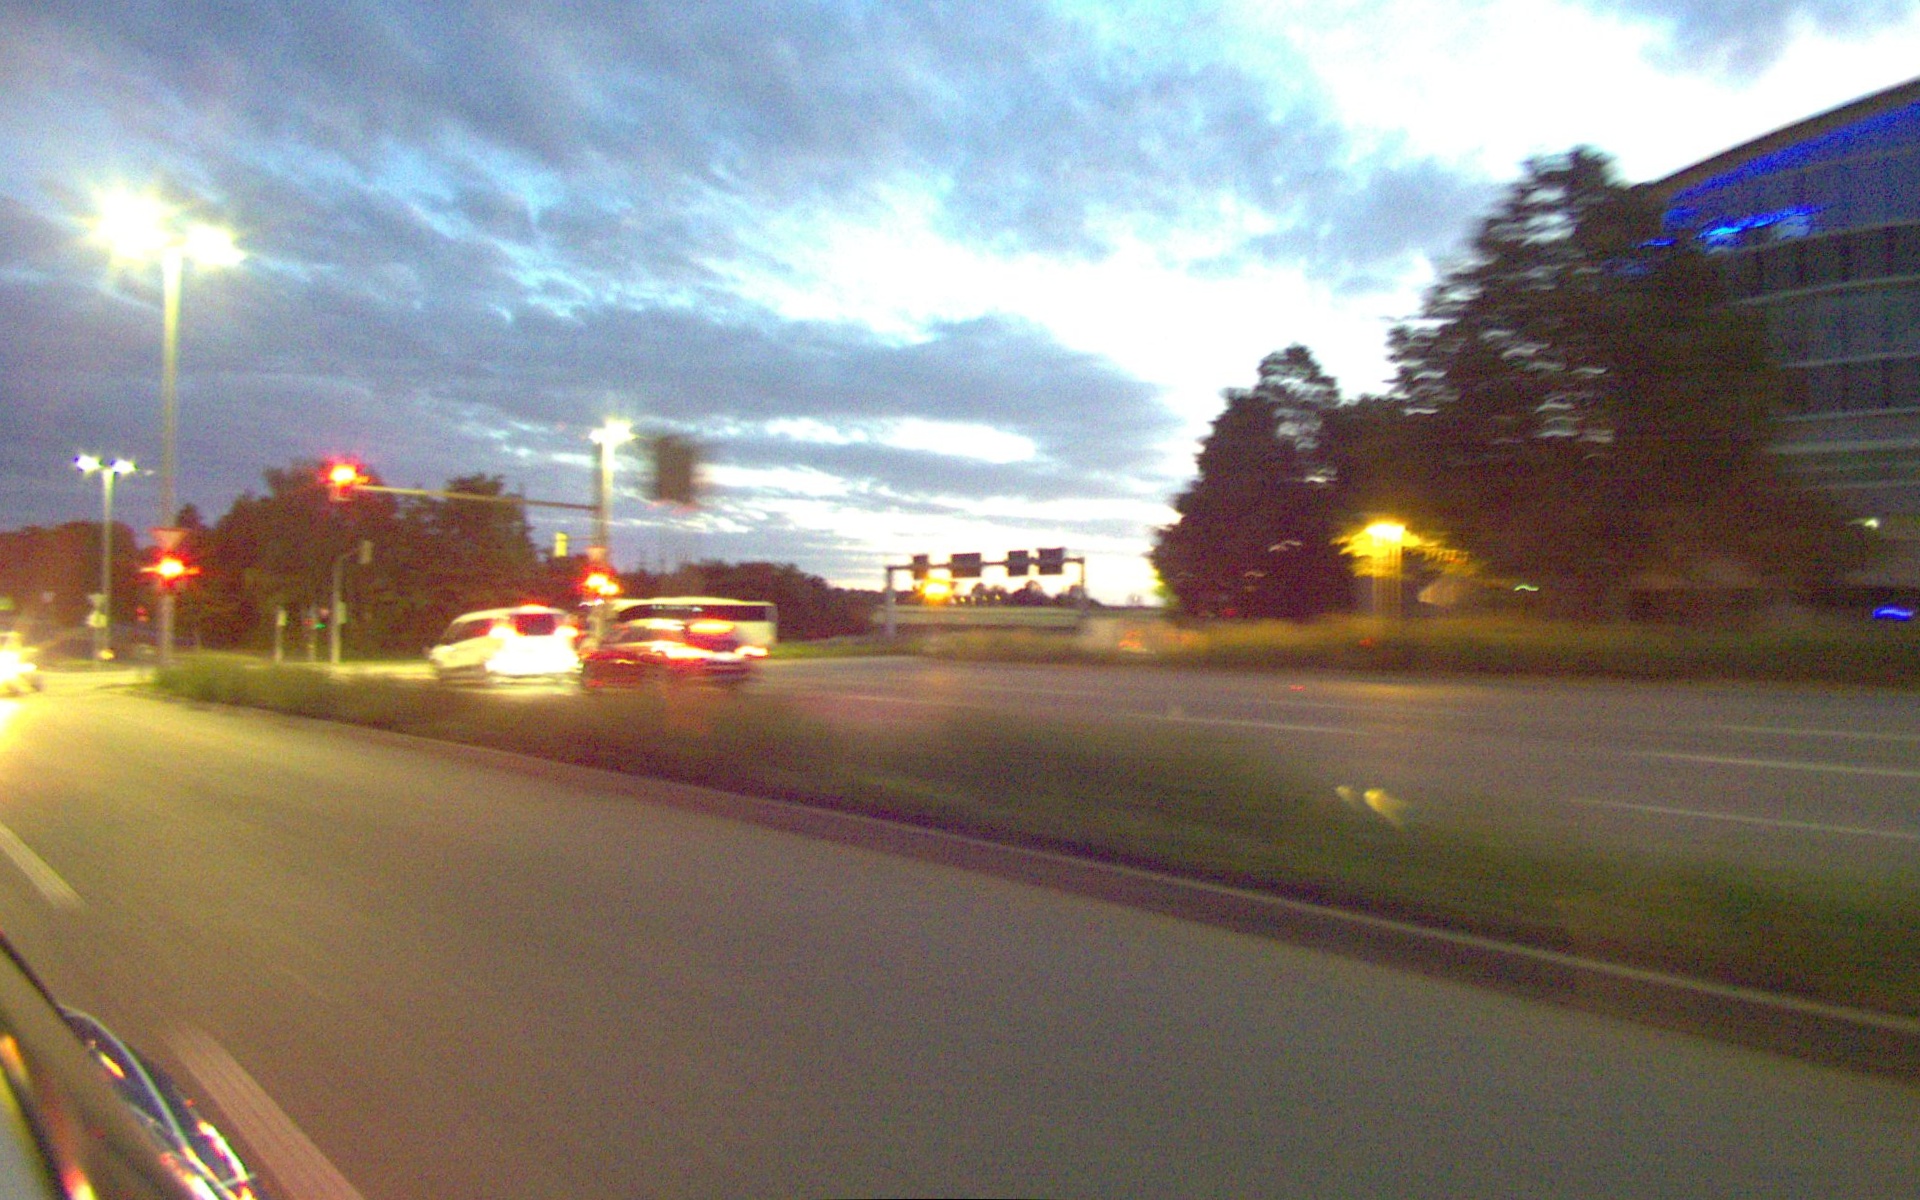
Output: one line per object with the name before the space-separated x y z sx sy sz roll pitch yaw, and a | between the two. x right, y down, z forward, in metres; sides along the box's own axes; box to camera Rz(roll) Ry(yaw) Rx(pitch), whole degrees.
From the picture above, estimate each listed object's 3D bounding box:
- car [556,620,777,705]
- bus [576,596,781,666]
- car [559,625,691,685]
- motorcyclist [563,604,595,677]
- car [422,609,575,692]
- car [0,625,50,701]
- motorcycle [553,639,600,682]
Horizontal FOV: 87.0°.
car | -5.681 1.128 19.199 4.838 1.408 1.850 -3 -2 43
bus | -16.399 1.792 60.230 2.616 3.819 12.100 -4 -3 43
car | -8.800 1.410 26.448 3.782 1.458 1.749 -3 -3 44
motorcyclist | -10.765 1.147 28.564 0.626 2.029 0.769 1 -3 -41
car | -11.299 1.224 24.614 4.776 1.828 1.822 -3 -3 44
car | -23.020 1.485 23.785 1.643 1.666 4.423 0 -2 -32
motorcycle | -10.868 1.700 28.672 0.662 1.172 1.811 1 -3 -41
